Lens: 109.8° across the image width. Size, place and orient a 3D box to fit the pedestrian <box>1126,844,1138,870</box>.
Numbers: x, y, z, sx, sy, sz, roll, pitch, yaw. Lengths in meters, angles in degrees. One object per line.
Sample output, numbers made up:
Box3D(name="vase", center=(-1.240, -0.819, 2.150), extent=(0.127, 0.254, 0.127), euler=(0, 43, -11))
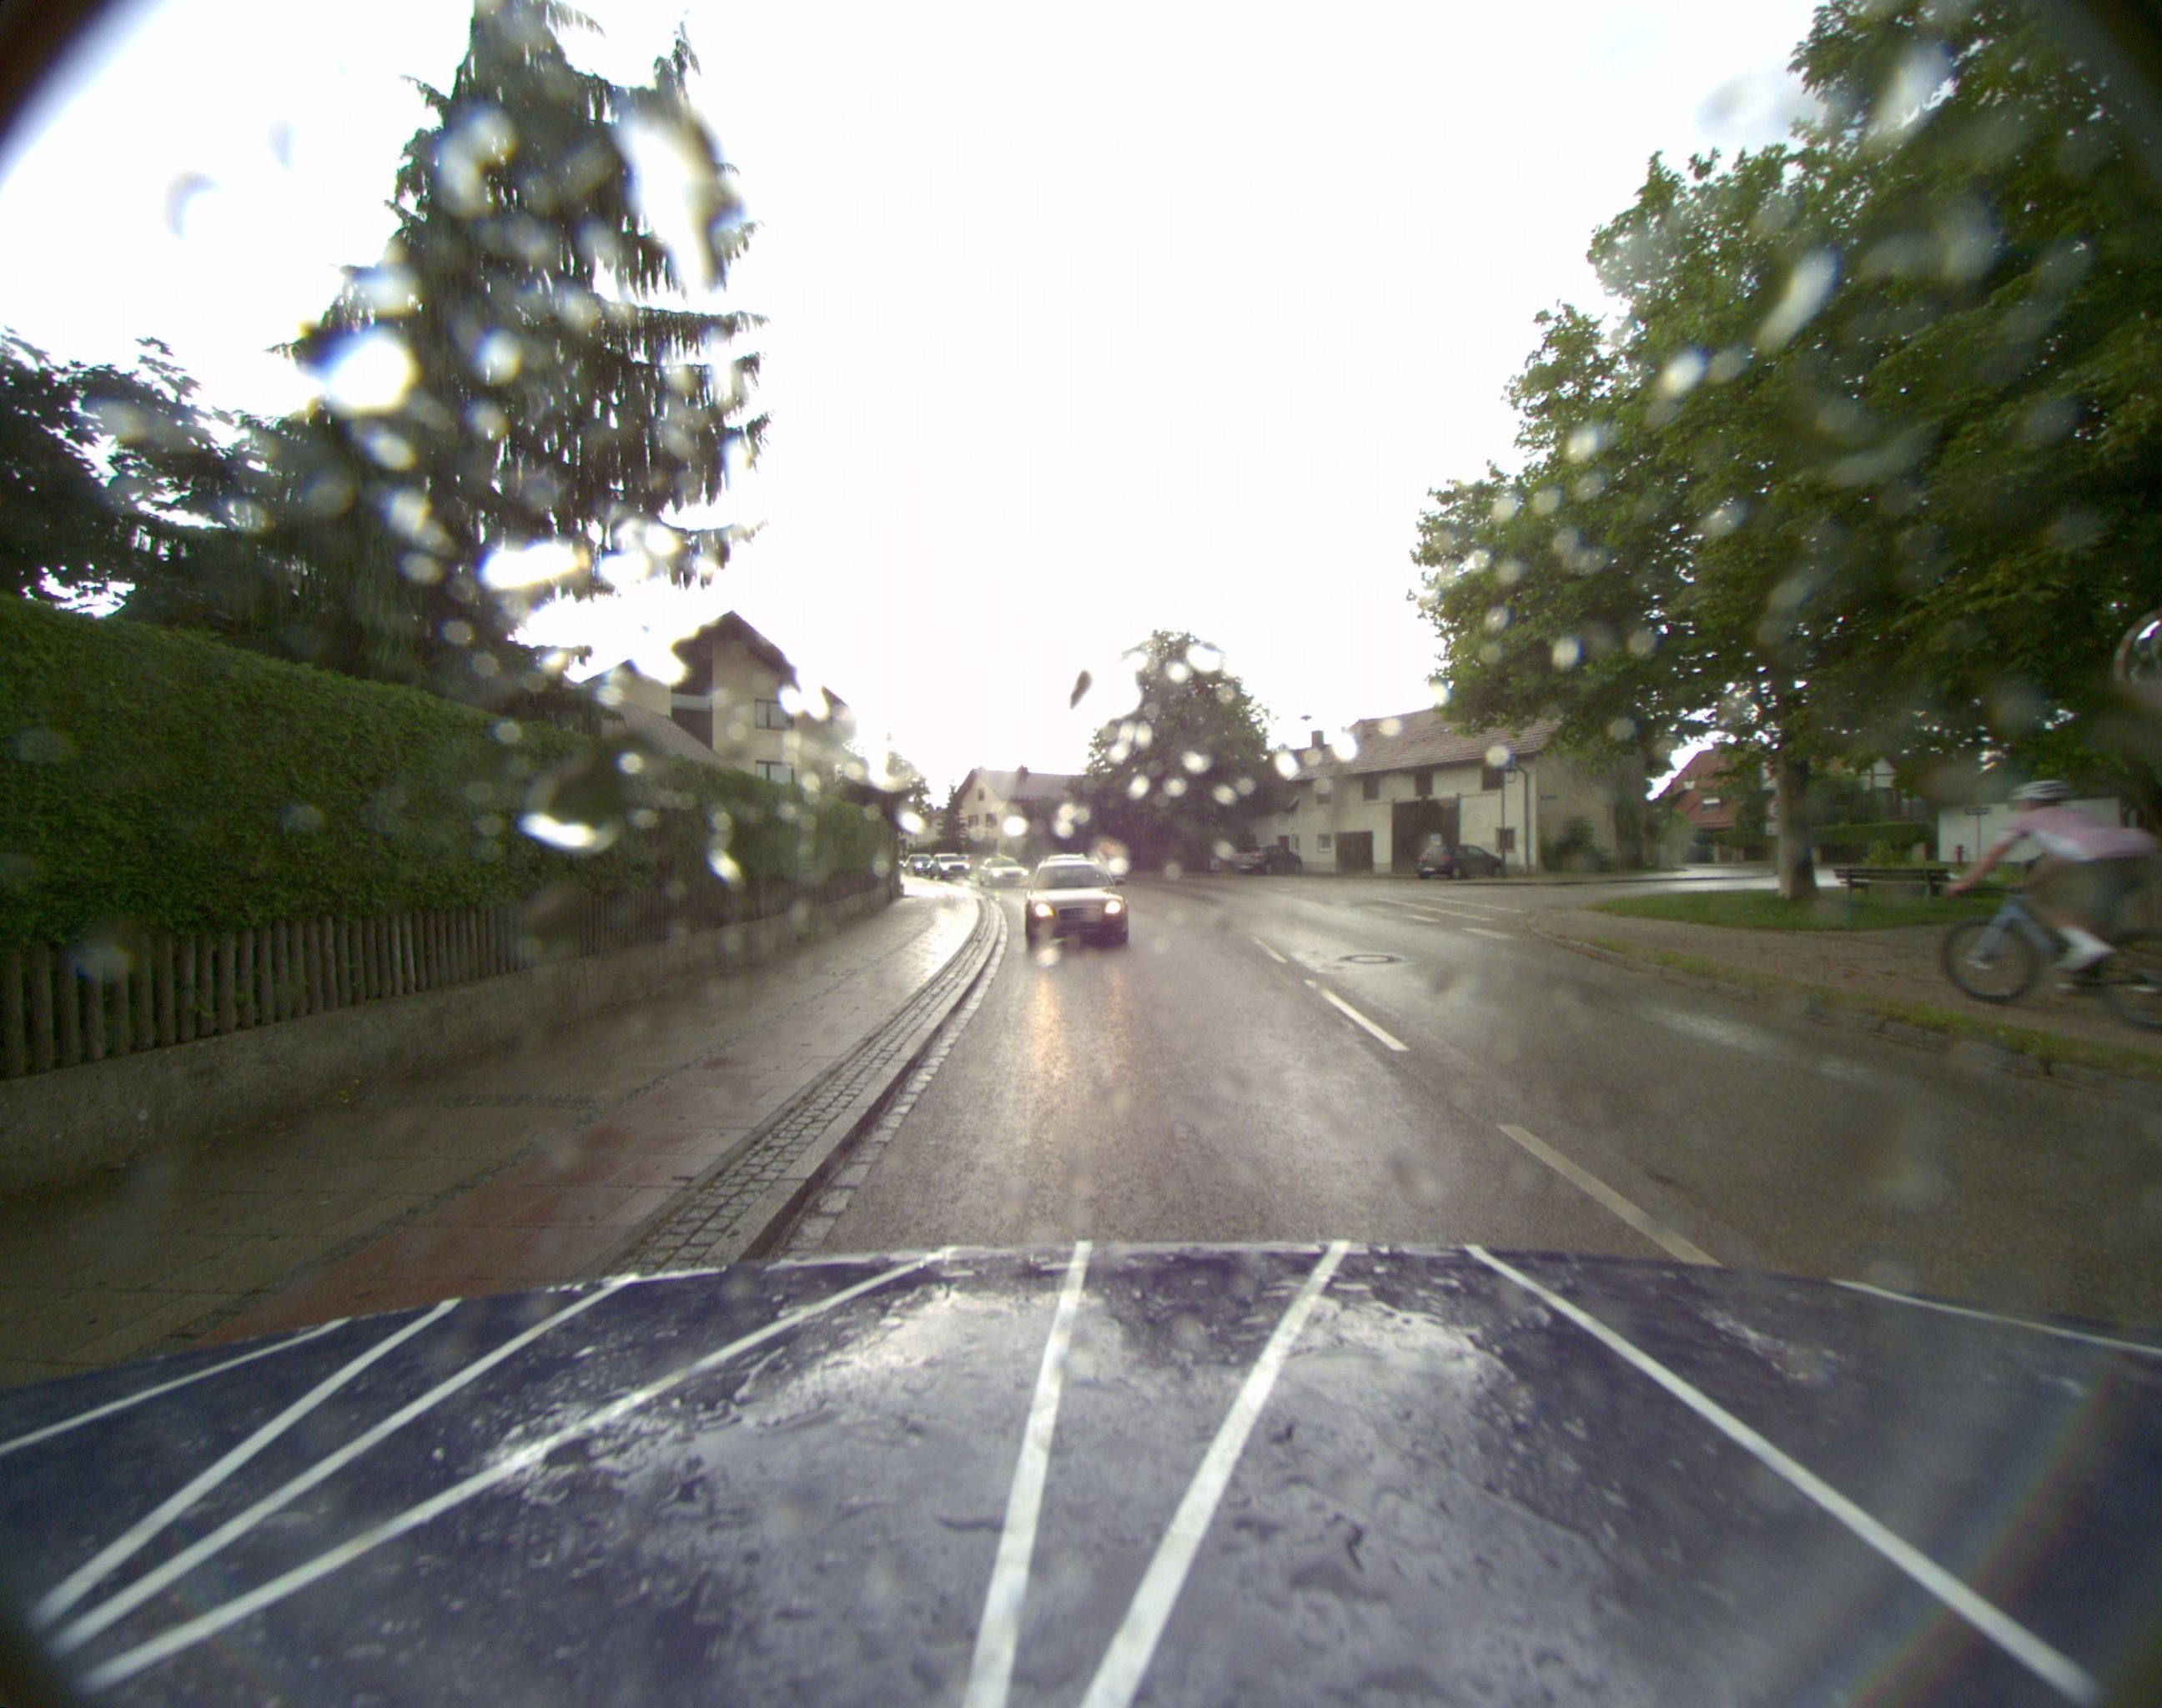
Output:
Box3D(name="pedestrian", center=(3.321, 0.193, 49.212), extent=(0.652, 1.619, 0.479), euler=(-1, 1, 17))

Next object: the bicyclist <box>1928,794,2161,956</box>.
Box3D(name="bicyclist", center=(6.851, 0.126, 5.348), extent=(0.589, 1.015, 1.060), euler=(-2, 1, 0))

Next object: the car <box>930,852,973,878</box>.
Box3D(name="car", center=(-8.678, 0.706, 50.668), extent=(1.797, 1.539, 4.272), euler=(-3, 1, -24))

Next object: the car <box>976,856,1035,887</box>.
Box3D(name="car", center=(-3.845, 0.822, 38.099), extent=(1.797, 1.387, 4.273), euler=(-3, 1, -21))

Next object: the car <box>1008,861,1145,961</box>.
Box3D(name="car", center=(-0.263, 0.917, 14.173), extent=(1.795, 1.387, 4.277), euler=(-3, 1, -10))

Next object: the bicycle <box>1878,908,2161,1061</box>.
Box3D(name="bicycle", center=(6.872, 0.863, 5.346), extent=(0.457, 0.794, 1.977), euler=(-2, 1, 0))

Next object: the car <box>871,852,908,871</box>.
Box3D(name="car", center=(-16.587, 0.649, 65.612), extent=(1.798, 1.539, 4.270), euler=(-4, 1, -33))

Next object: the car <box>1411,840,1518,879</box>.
Box3D(name="car", center=(16.033, 0.202, 31.732), extent=(4.287, 1.428, 1.817), euler=(-2, 1, -28))

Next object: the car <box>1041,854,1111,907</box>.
Box3D(name="car", center=(-0.293, 0.805, 25.811), extent=(1.795, 1.471, 5.381), euler=(-3, 1, -6))

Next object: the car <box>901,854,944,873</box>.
Box3D(name="car", center=(-12.355, 0.731, 59.172), extent=(1.798, 1.365, 4.270), euler=(-4, 1, -33))

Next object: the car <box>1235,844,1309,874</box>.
Box3D(name="car", center=(10.286, 0.257, 40.808), extent=(4.290, 1.539, 1.812), euler=(0, 0, -42))

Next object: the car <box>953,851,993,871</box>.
Box3D(name="car", center=(-8.838, 0.562, 61.956), extent=(1.724, 1.434, 3.990), euler=(-4, 1, -32))
